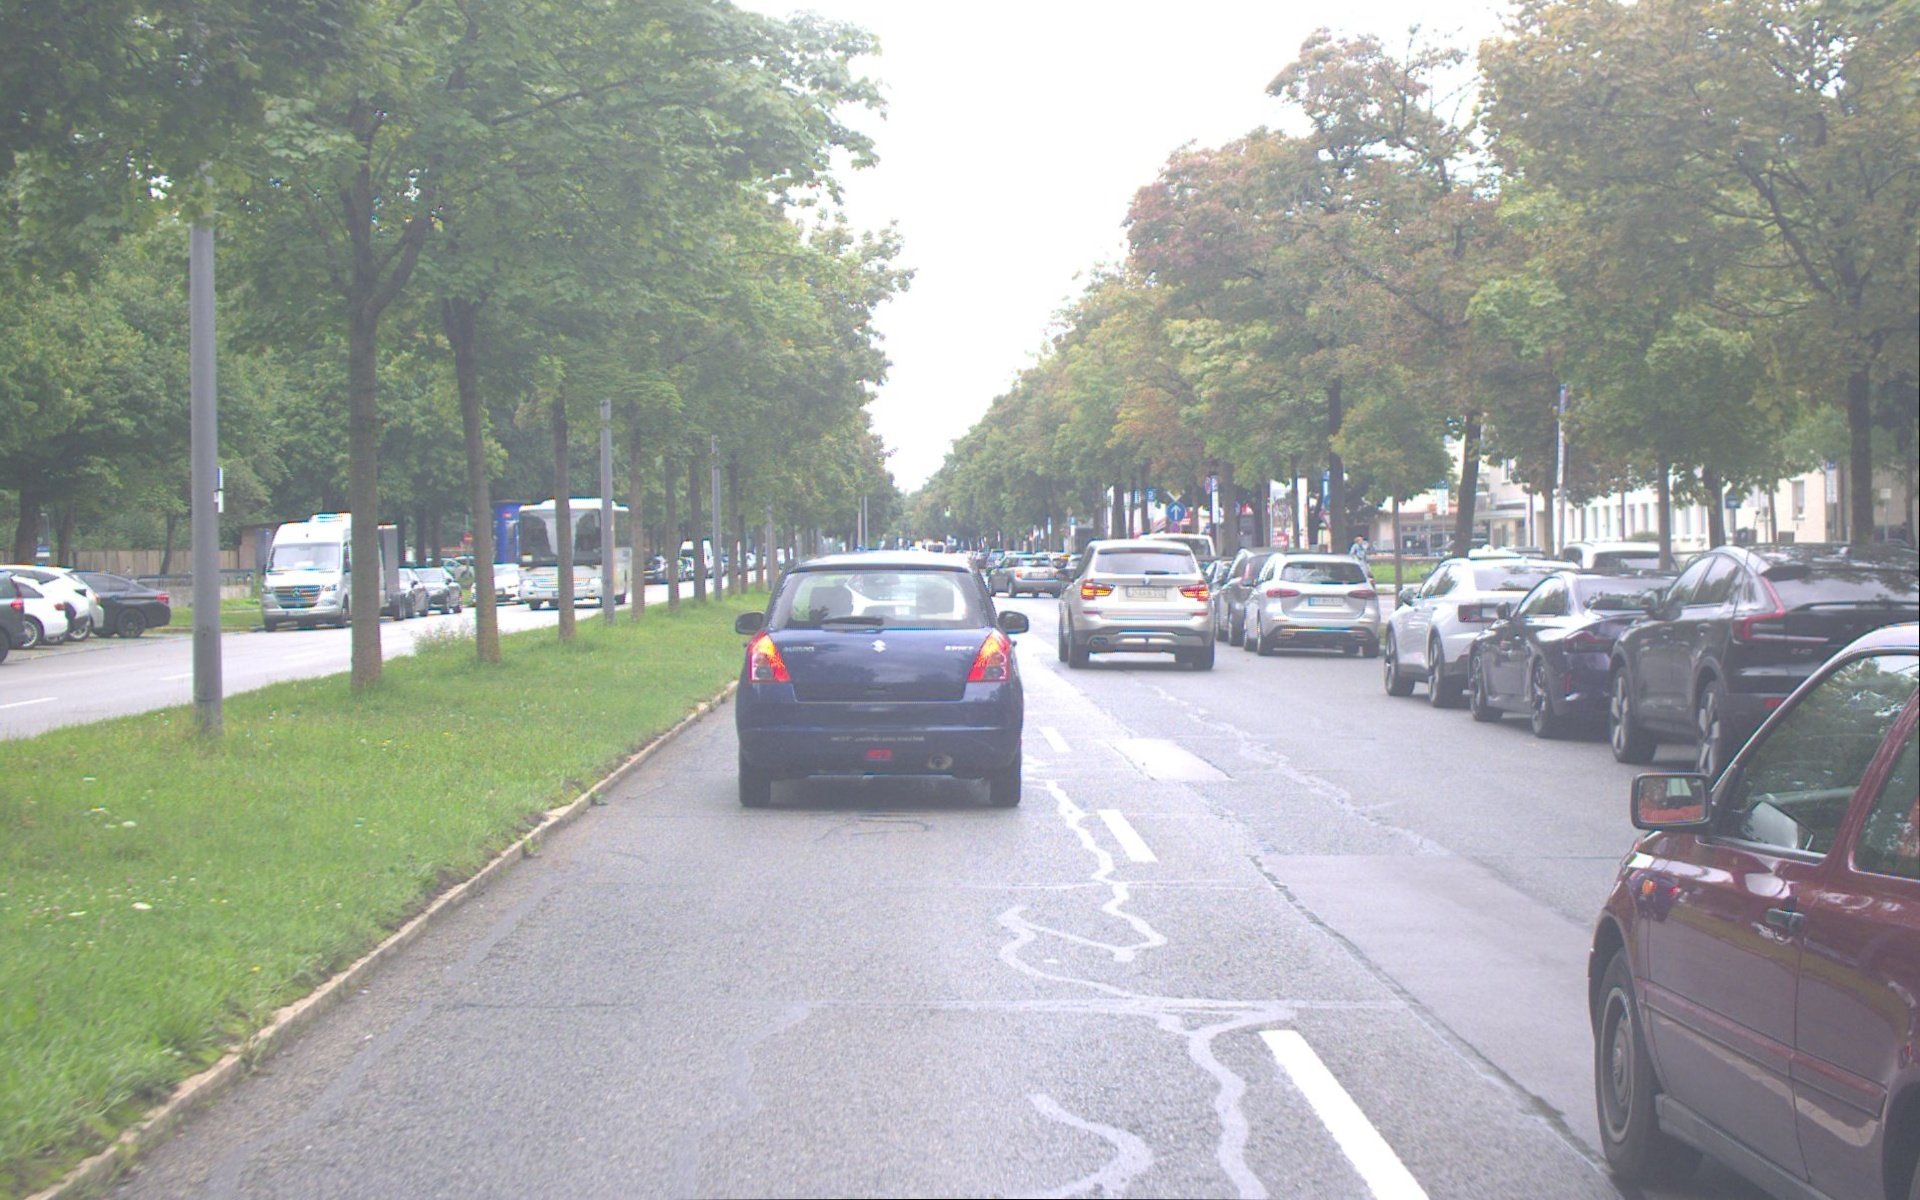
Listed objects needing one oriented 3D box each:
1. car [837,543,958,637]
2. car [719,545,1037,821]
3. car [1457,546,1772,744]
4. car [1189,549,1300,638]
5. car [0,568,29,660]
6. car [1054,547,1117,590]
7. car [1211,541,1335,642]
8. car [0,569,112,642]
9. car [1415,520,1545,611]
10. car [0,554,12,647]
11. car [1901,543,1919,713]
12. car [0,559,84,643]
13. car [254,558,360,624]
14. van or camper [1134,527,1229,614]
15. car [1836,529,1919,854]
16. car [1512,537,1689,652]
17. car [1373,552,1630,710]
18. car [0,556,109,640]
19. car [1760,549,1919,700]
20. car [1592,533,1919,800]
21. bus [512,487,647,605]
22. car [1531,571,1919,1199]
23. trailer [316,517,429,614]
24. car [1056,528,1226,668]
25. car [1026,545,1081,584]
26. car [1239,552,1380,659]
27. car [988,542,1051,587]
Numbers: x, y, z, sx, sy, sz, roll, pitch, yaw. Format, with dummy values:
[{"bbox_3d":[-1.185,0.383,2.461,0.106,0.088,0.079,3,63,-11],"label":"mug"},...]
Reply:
[{"bbox_3d":[-1.048,-0.182,55.444,1.850,1.442,4.098,-1,1,-2],"label":"car"},{"bbox_3d":[-0.542,0.437,21.516,1.789,1.550,4.000,-1,1,-2],"label":"car"},{"bbox_3d":[5.471,0.319,29.253,1.764,1.541,4.424,0,1,-1],"label":"car"},{"bbox_3d":[5.179,-0.147,63.041,1.684,1.548,4.306,-1,1,0],"label":"car"},{"bbox_3d":[-17.892,0.270,57.260,4.175,1.537,1.919,-2,1,-38],"label":"car"},{"bbox_3d":[4.308,-1.102,118.109,1.850,1.442,4.098,-1,1,-2],"label":"car"},{"bbox_3d":[5.229,-0.172,57.878,1.684,1.620,4.306,1,1,0],"label":"car"},{"bbox_3d":[-20.088,0.115,71.968,4.095,1.469,1.919,-1,1,-34],"label":"car"},{"bbox_3d":[9.357,-0.633,62.107,1.684,1.580,4.028,-1,1,-1],"label":"car"},{"bbox_3d":[-19.634,0.047,62.732,4.095,1.689,1.919,-1,1,-34],"label":"car"},{"bbox_3d":[9.730,0.276,30.427,1.684,1.580,4.009,-1,1,0],"label":"car"},{"bbox_3d":[-19.247,0.038,66.370,4.095,1.579,1.919,-1,1,-34],"label":"car"},{"bbox_3d":[-15.935,-0.234,84.063,1.913,1.537,4.188,-1,1,-2],"label":"car"},{"bbox_3d":[5.124,-0.703,80.059,1.944,1.968,4.306,-1,1,0],"label":"van or camper"},{"bbox_3d":[5.729,0.467,16.789,1.722,1.646,4.389,-1,1,-1],"label":"car"},{"bbox_3d":[9.488,-0.117,51.256,1.684,1.627,4.780,-1,1,-1],"label":"car"},{"bbox_3d":[5.411,0.265,34.912,1.706,1.449,4.512,1,1,-2],"label":"car"},{"bbox_3d":[-19.503,-0.041,69.393,4.095,1.647,1.919,-1,1,-34],"label":"car"},{"bbox_3d":[9.619,0.209,35.664,1.684,1.449,4.009,-1,1,0],"label":"car"},{"bbox_3d":[5.637,0.375,23.465,1.764,1.646,4.424,0,1,-1],"label":"car"},{"bbox_3d":[-11.747,-1.697,107.116,2.738,3.366,12.013,-2,1,0],"label":"bus"},{"bbox_3d":[2.327,0.684,6.886,1.622,1.449,3.950,-1,1,-1],"label":"car"},{"bbox_3d":[-15.925,-0.958,93.471,2.106,2.532,5.577,-1,1,0],"label":"trailer"},{"bbox_3d":[2.325,-0.059,45.112,1.850,1.737,4.098,-1,1,-2],"label":"car"},{"bbox_3d":[3.568,-1.375,131.952,1.850,1.442,4.098,-1,1,-2],"label":"car"},{"bbox_3d":[5.281,0.048,52.372,1.684,1.520,4.456,1,1,0],"label":"car"},{"bbox_3d":[1.957,-1.184,114.376,1.850,1.442,4.098,-1,1,-2],"label":"car"}]
